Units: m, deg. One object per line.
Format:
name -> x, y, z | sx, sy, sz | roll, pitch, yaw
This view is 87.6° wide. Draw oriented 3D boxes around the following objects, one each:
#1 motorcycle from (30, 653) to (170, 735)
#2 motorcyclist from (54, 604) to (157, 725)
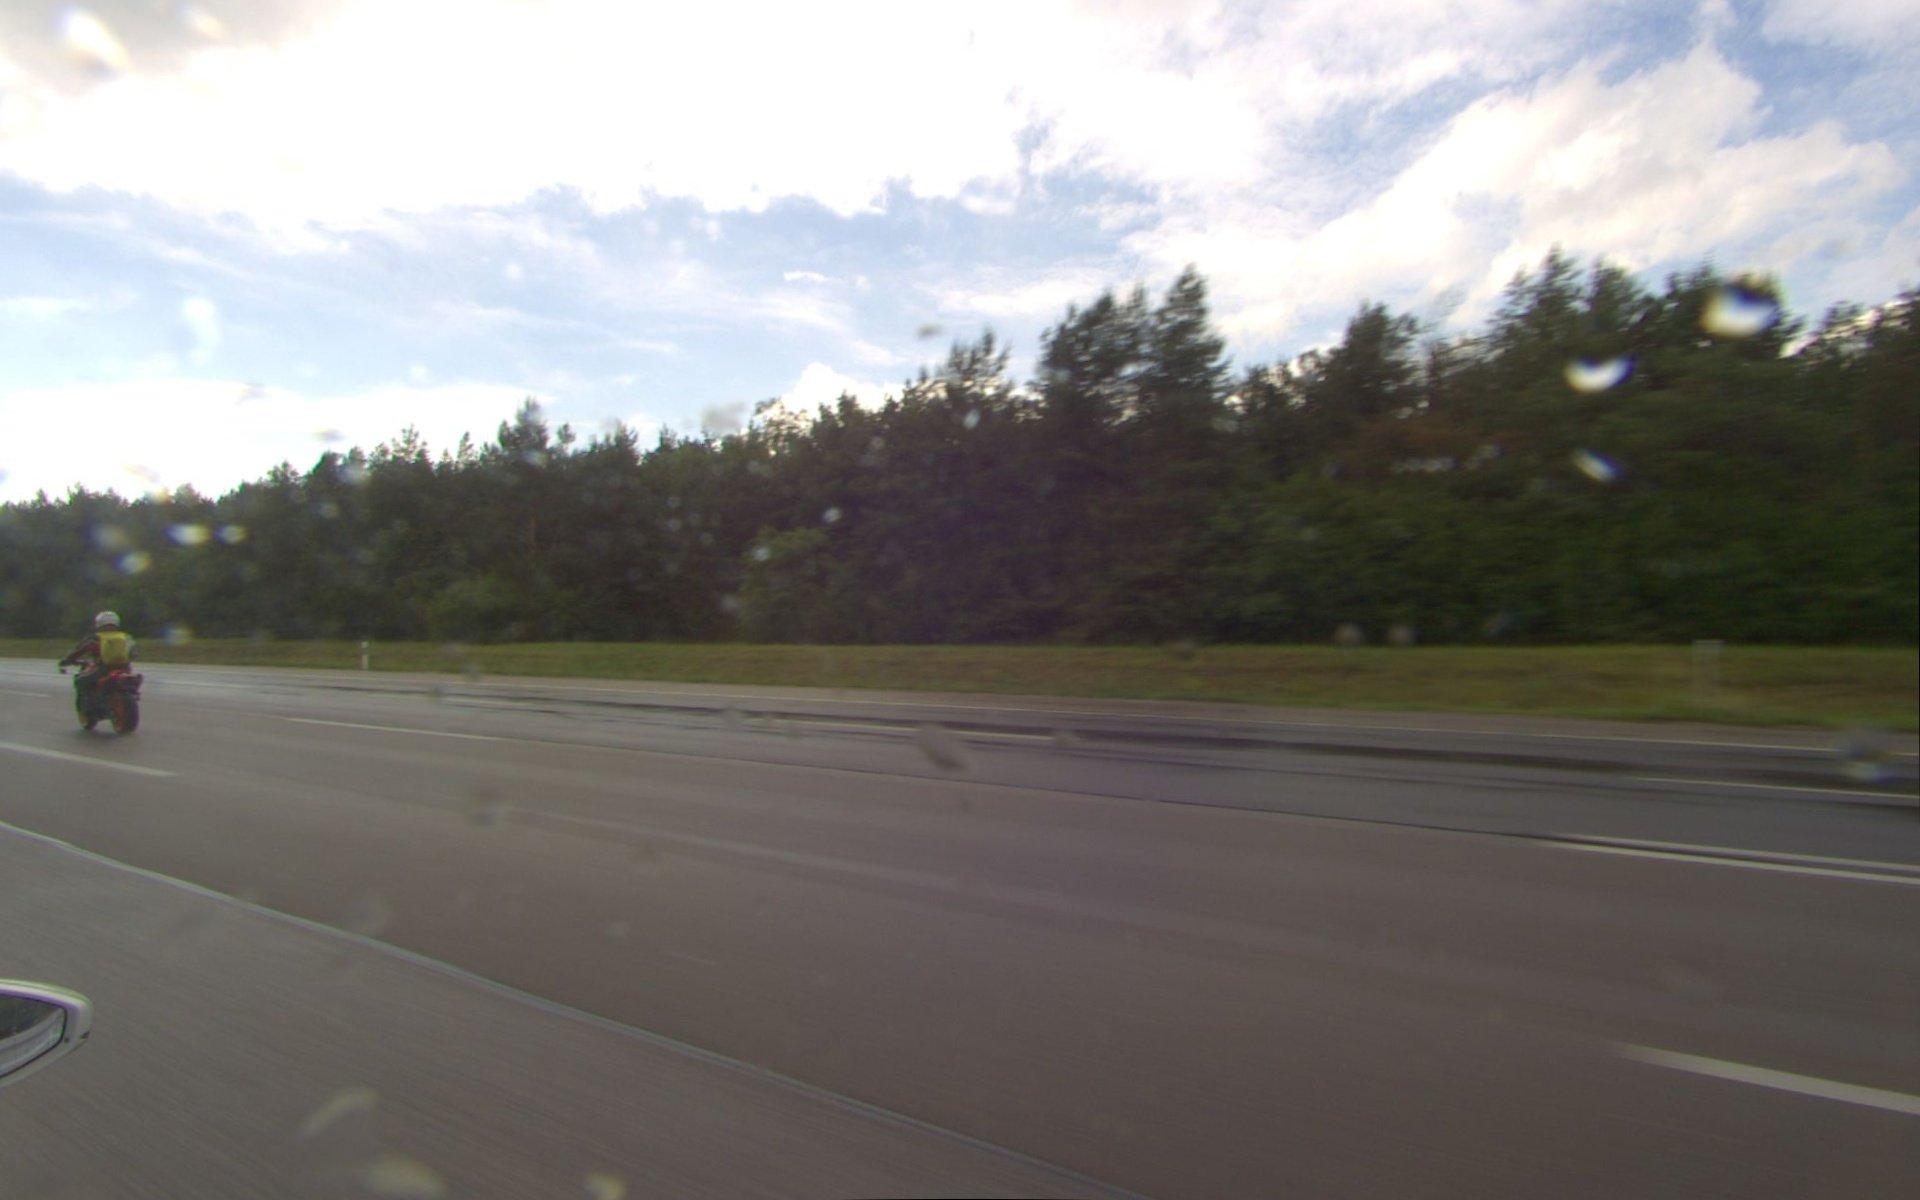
motorcycle -> -12.451, 1.324, 14.488 | 2.143, 1.044, 0.998 | -1, -1, 33
motorcyclist -> -12.156, 0.895, 14.257 | 0.945, 1.635, 0.889 | -1, -1, 33
